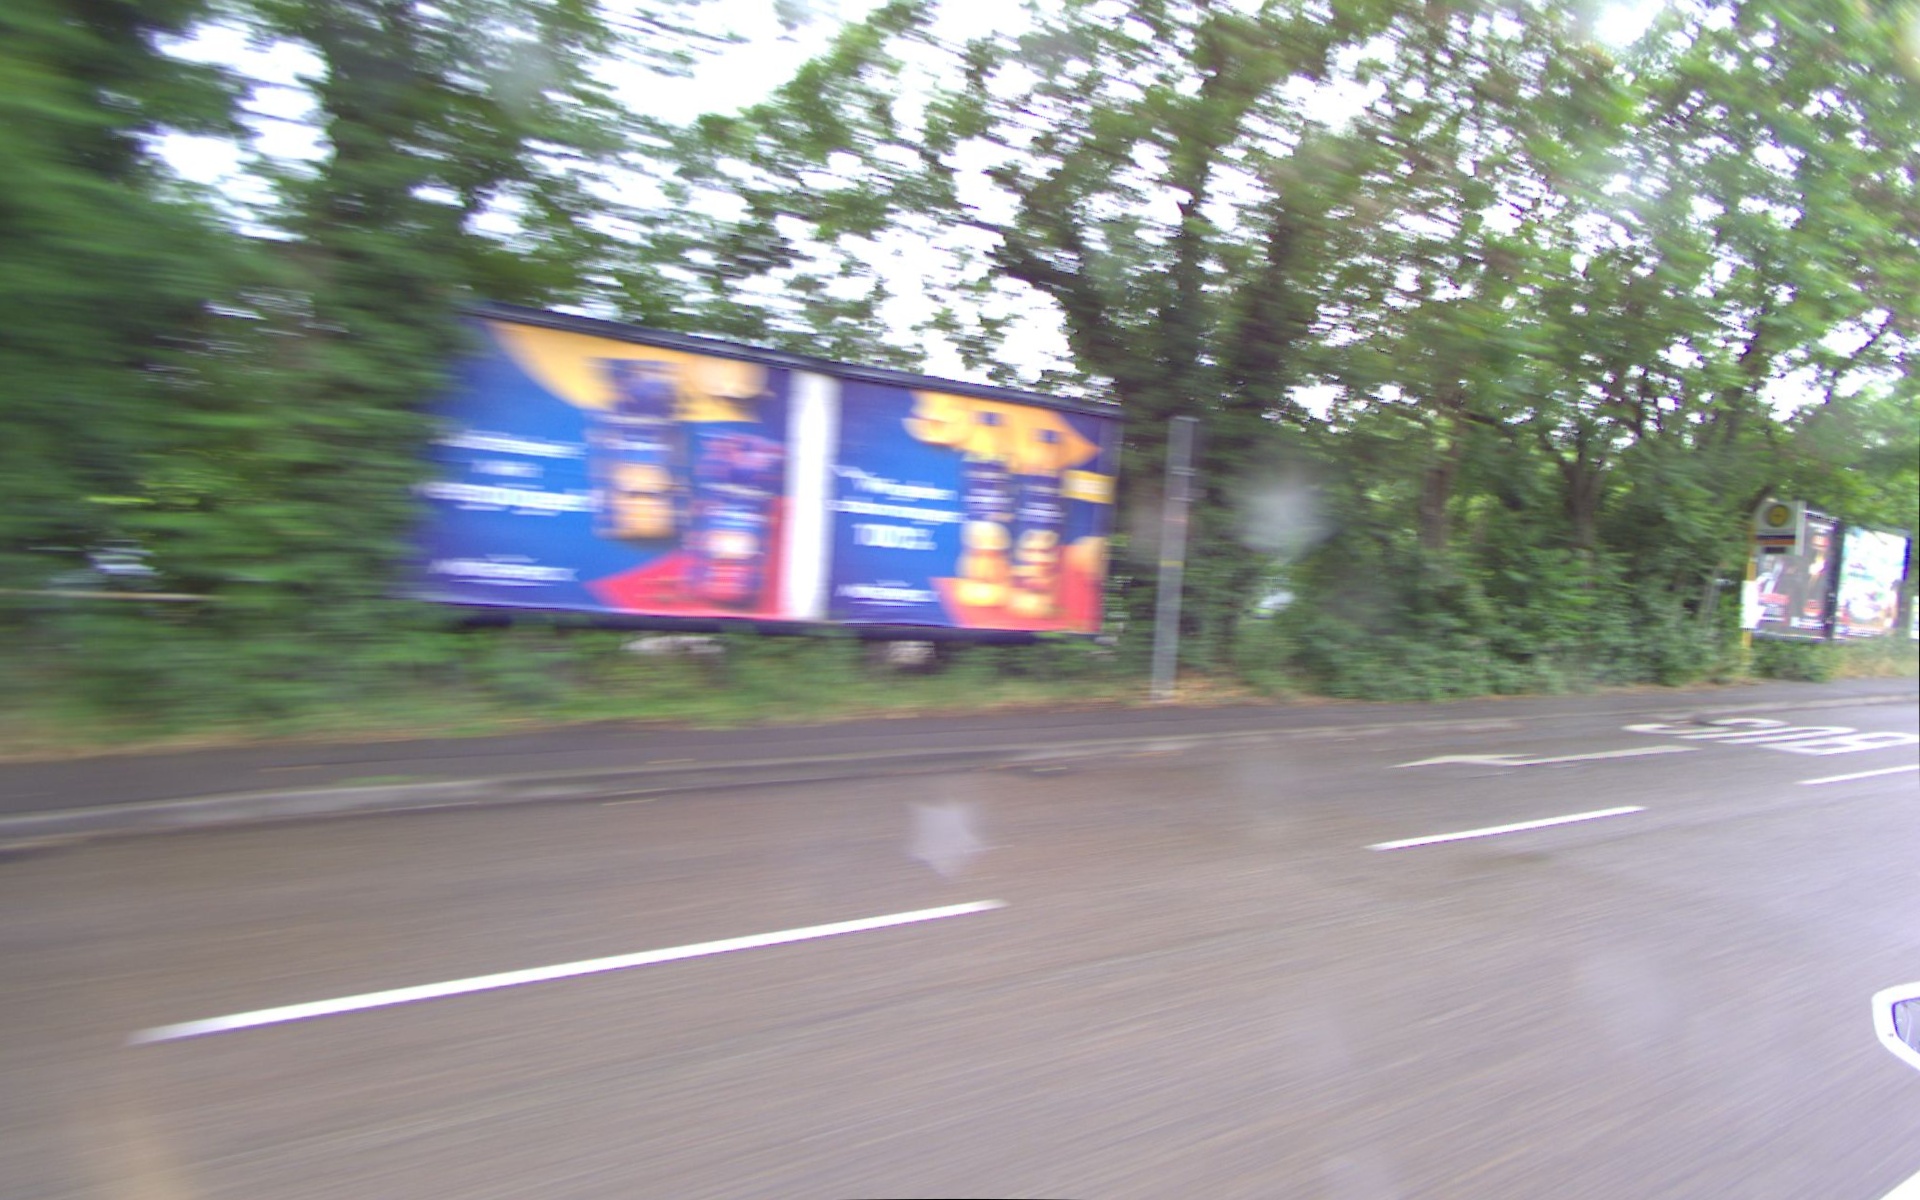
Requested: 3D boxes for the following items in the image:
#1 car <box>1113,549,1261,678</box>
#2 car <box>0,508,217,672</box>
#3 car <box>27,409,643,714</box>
[{"bbox_3d":[3.912,0.119,18.013,1.960,1.963,4.001,3,3,5],"label":"car"},{"bbox_3d":[-10.217,-0.179,10.511,1.962,1.564,4.123,2,3,-3],"label":"car"},{"bbox_3d":[-6.529,-0.427,11.382,2.076,2.567,5.592,4,3,31],"label":"car"}]
